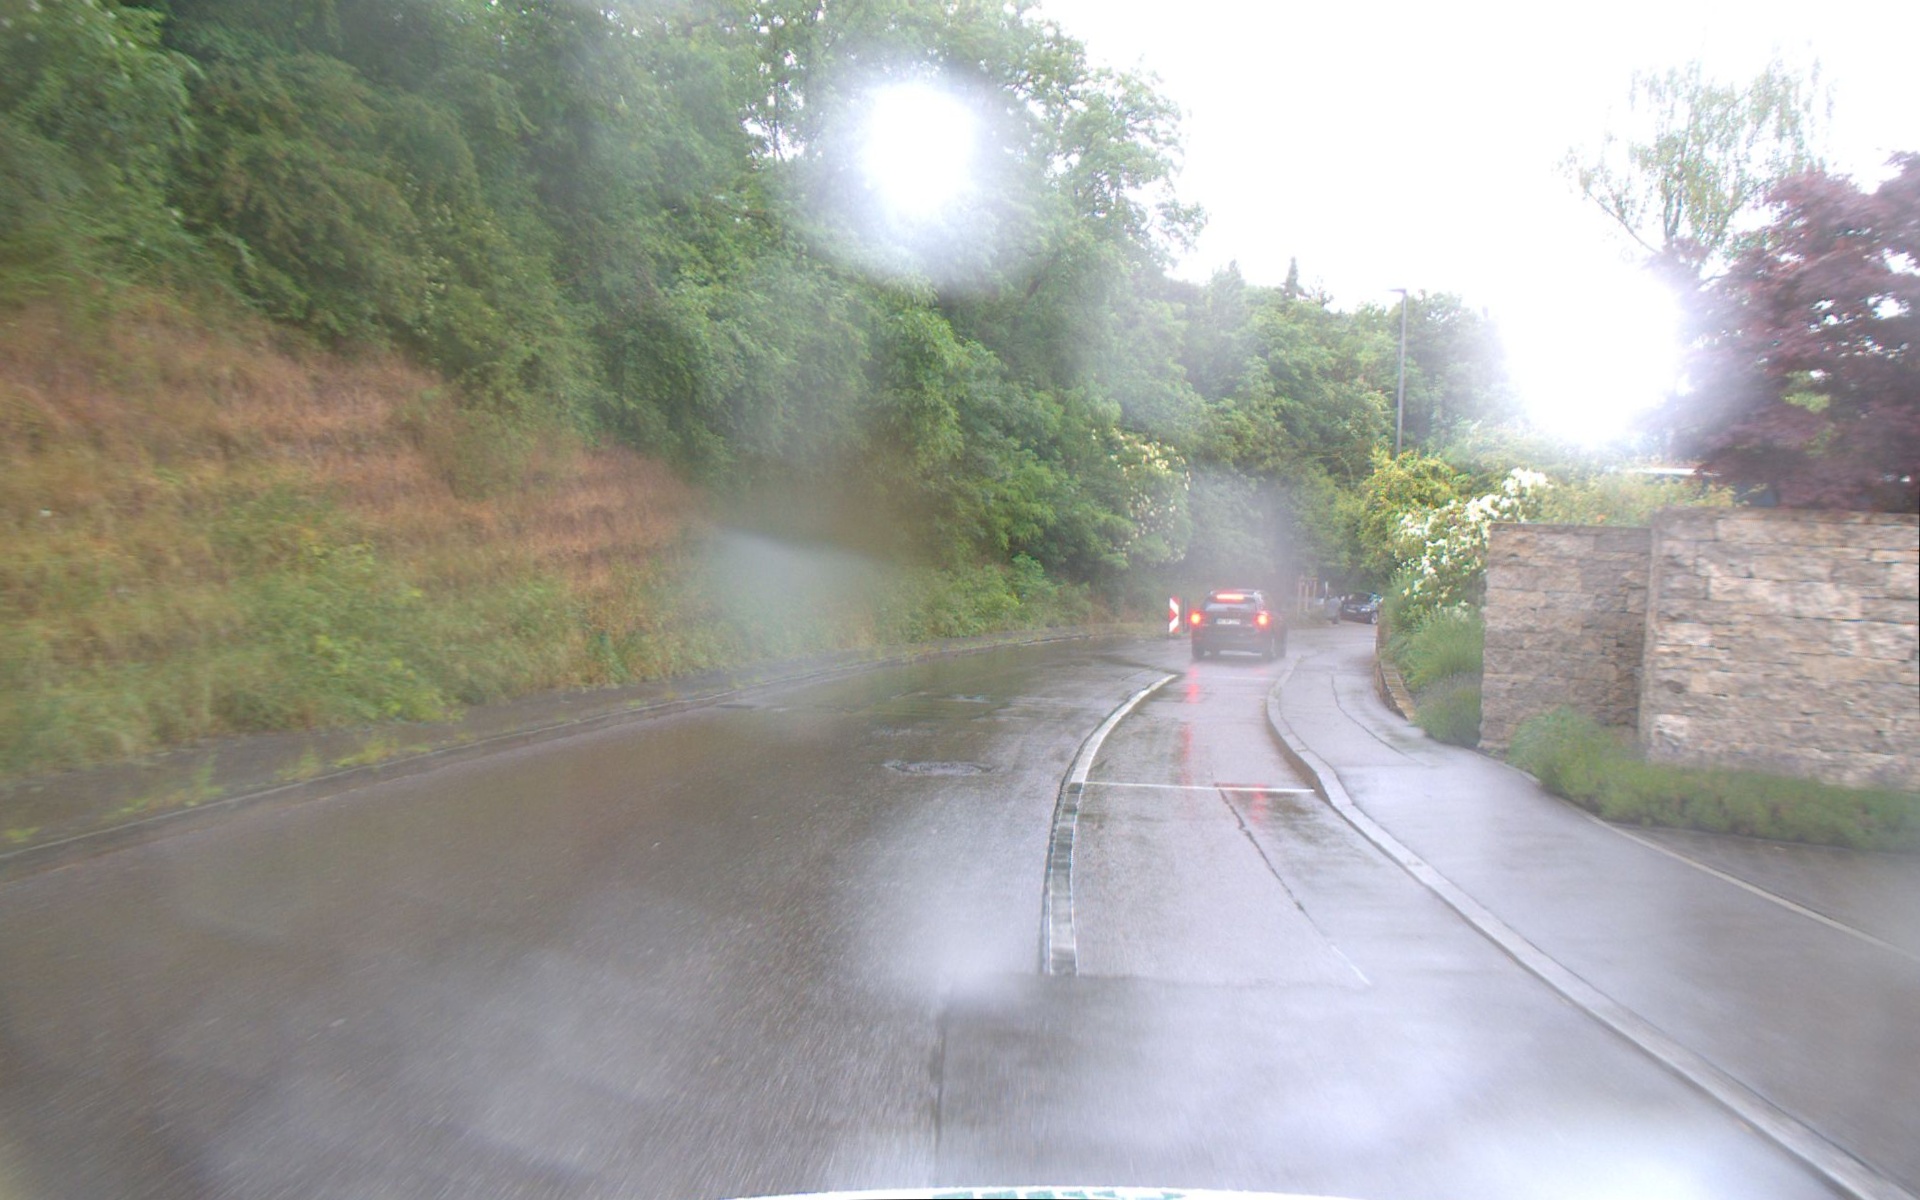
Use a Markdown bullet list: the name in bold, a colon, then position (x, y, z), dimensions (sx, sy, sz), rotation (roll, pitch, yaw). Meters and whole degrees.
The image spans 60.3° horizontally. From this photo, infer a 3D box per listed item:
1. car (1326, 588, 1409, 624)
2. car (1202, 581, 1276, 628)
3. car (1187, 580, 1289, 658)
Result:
- **car**: position (19.742, 0.293, 79.996), dimensions (1.965, 1.534, 4.542), rotation (4, 1, 42)
- **car**: position (9.822, 0.141, 57.994), dimensions (1.665, 1.496, 3.999), rotation (4, 2, 22)
- **car**: position (6.150, 0.376, 36.297), dimensions (1.829, 1.538, 4.096), rotation (2, 1, 14)
